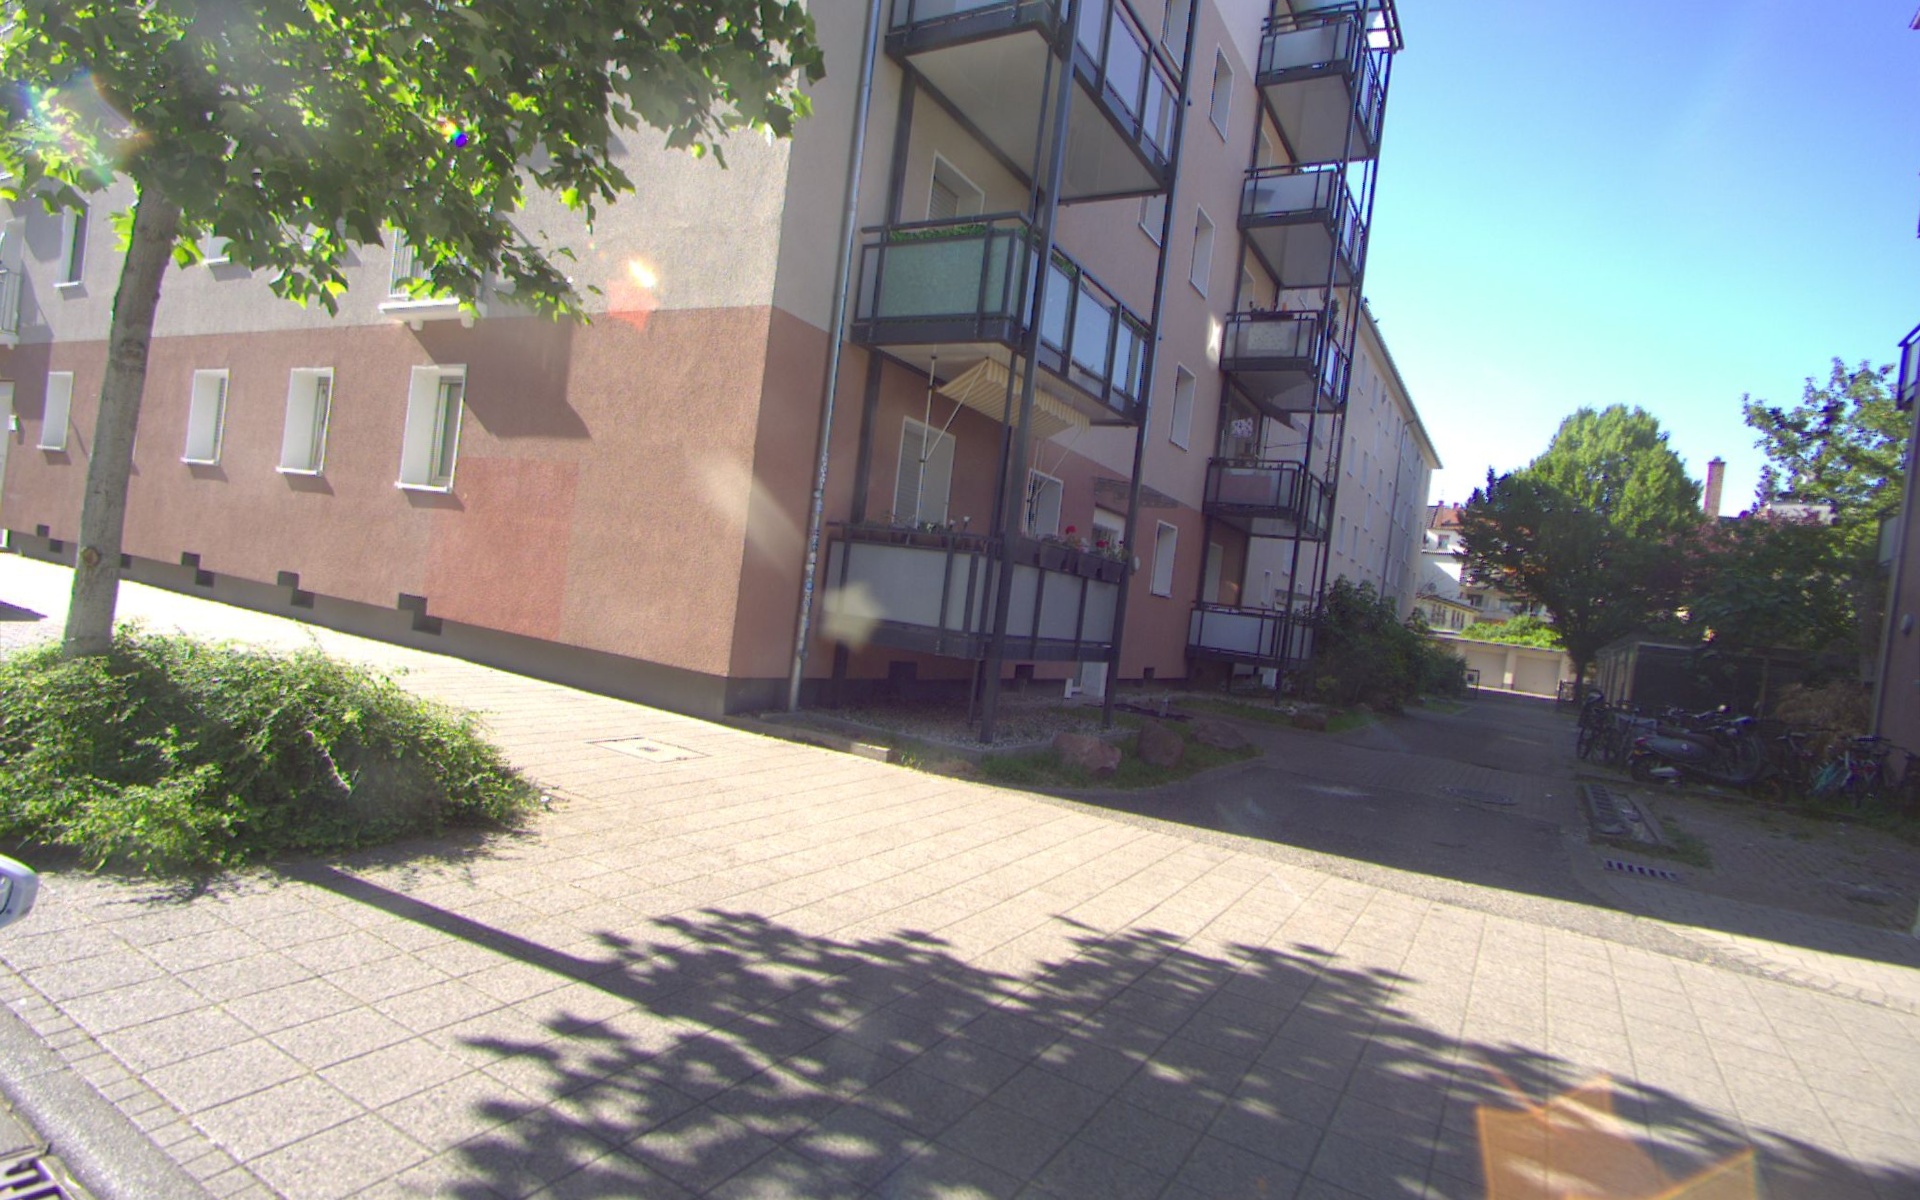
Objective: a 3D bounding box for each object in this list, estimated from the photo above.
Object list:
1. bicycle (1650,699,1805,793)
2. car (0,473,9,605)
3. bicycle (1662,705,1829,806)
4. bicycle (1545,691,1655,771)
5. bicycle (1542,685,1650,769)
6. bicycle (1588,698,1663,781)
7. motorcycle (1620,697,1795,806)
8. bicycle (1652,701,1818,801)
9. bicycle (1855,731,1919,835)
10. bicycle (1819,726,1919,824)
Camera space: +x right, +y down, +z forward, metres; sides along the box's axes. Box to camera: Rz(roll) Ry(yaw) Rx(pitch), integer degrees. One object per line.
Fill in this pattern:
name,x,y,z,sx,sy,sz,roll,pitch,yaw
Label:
bicycle,12.437,2.340,16.379,1.850,1.166,0.577,7,1,33
car,-12.832,-0.915,11.550,3.730,1.505,1.733,7,2,30
bicycle,11.373,2.229,14.641,1.743,1.120,0.566,7,1,32
bicycle,10.953,2.222,17.253,1.456,1.112,0.556,7,1,33
bicycle,11.212,2.218,17.770,1.456,1.221,0.556,7,1,33
bicycle,10.600,2.192,16.077,0.547,1.112,1.719,7,0,22
motorcycle,10.001,2.002,13.542,1.743,1.120,0.525,7,1,32
bicycle,11.803,2.272,15.409,1.850,1.166,0.577,7,1,33
bicycle,11.733,2.257,12.425,0.584,1.112,1.538,7,0,30
bicycle,12.517,2.380,13.903,0.548,1.112,1.717,8,1,30
